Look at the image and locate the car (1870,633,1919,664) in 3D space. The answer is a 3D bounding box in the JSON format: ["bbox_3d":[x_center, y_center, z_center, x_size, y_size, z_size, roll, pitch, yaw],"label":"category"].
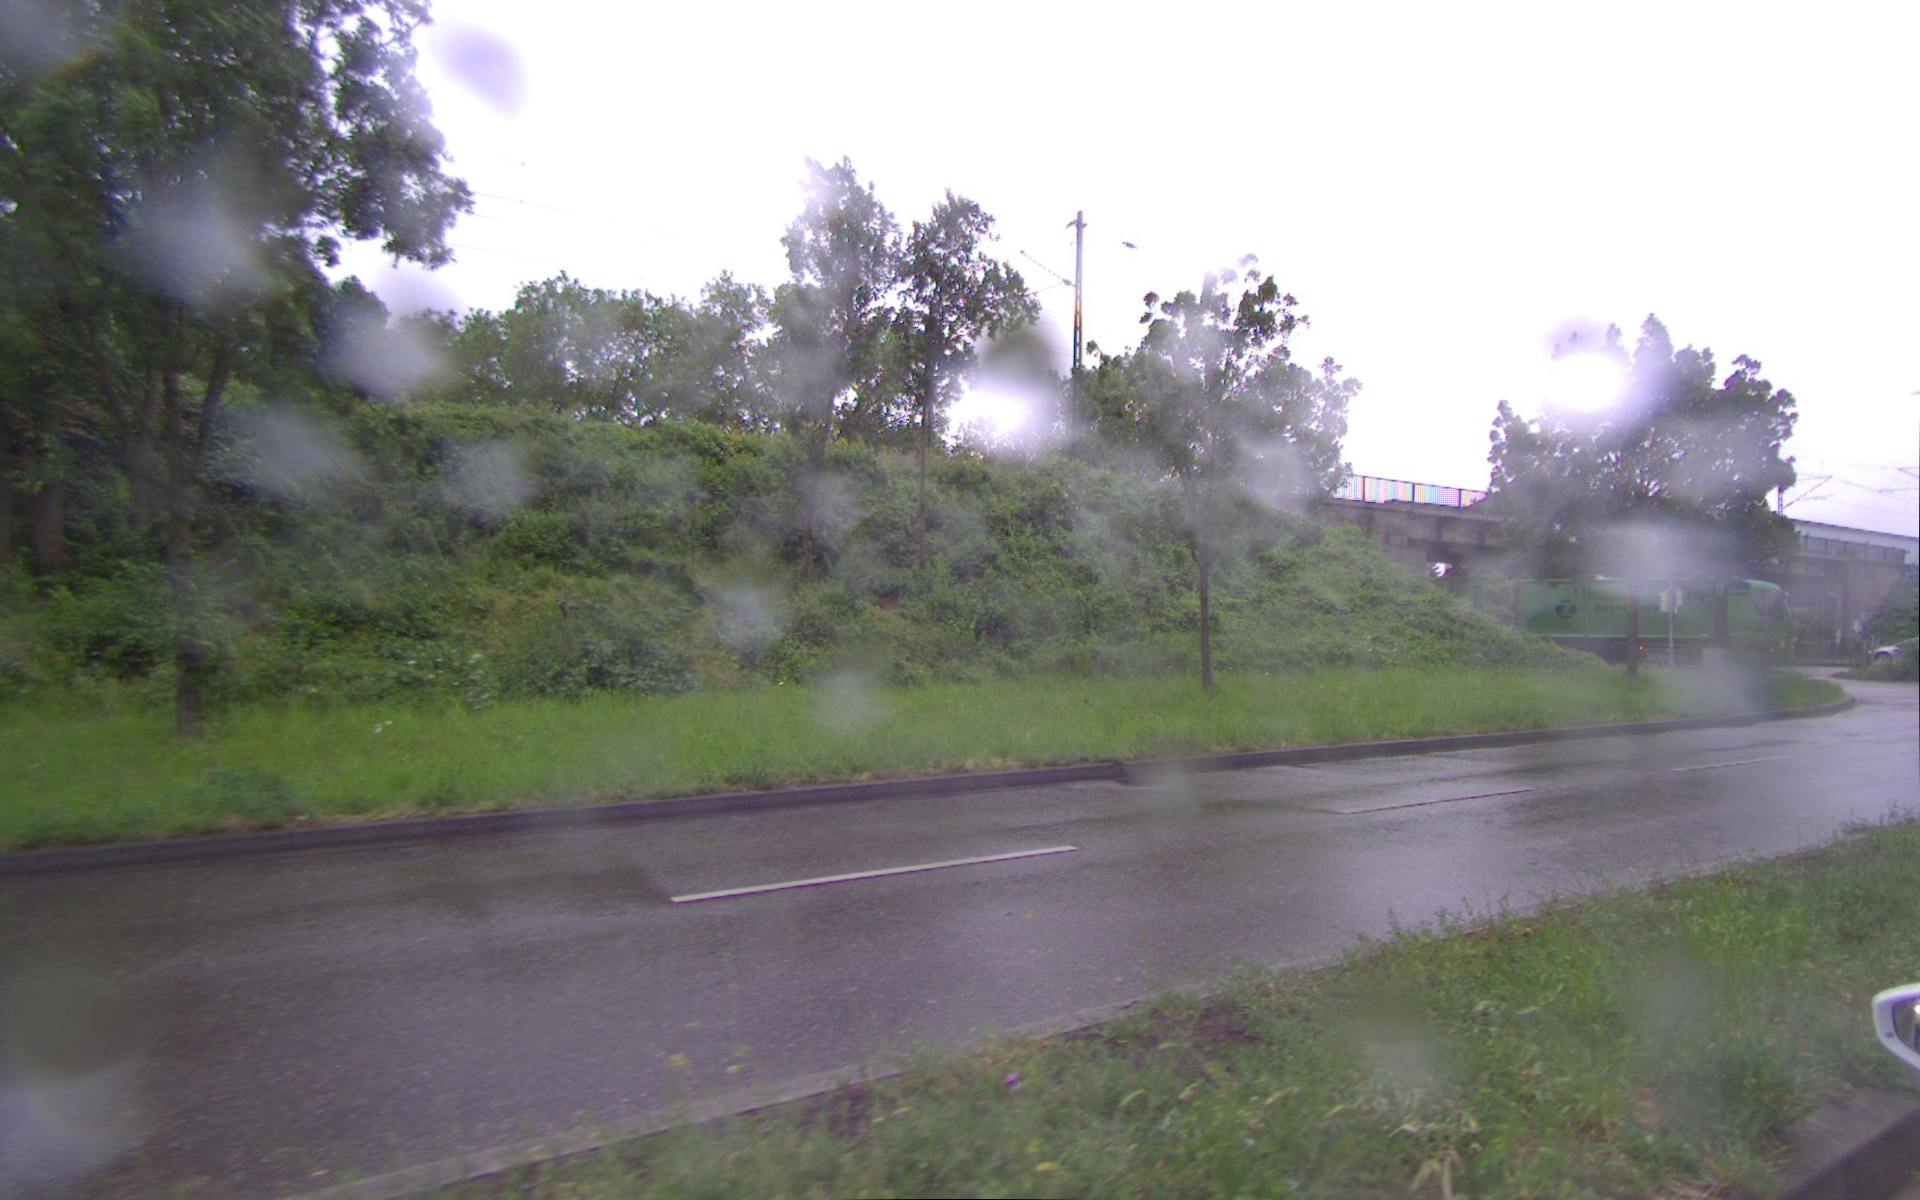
[{"bbox_3d":[49.706,2.520,51.799,1.981,1.563,3.789,2,-3,-36],"label":"car"}]

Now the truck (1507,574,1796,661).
[{"bbox_3d":[29.104,0.686,42.937,9.873,3.416,2.345,0,-1,25],"label":"truck"}]
